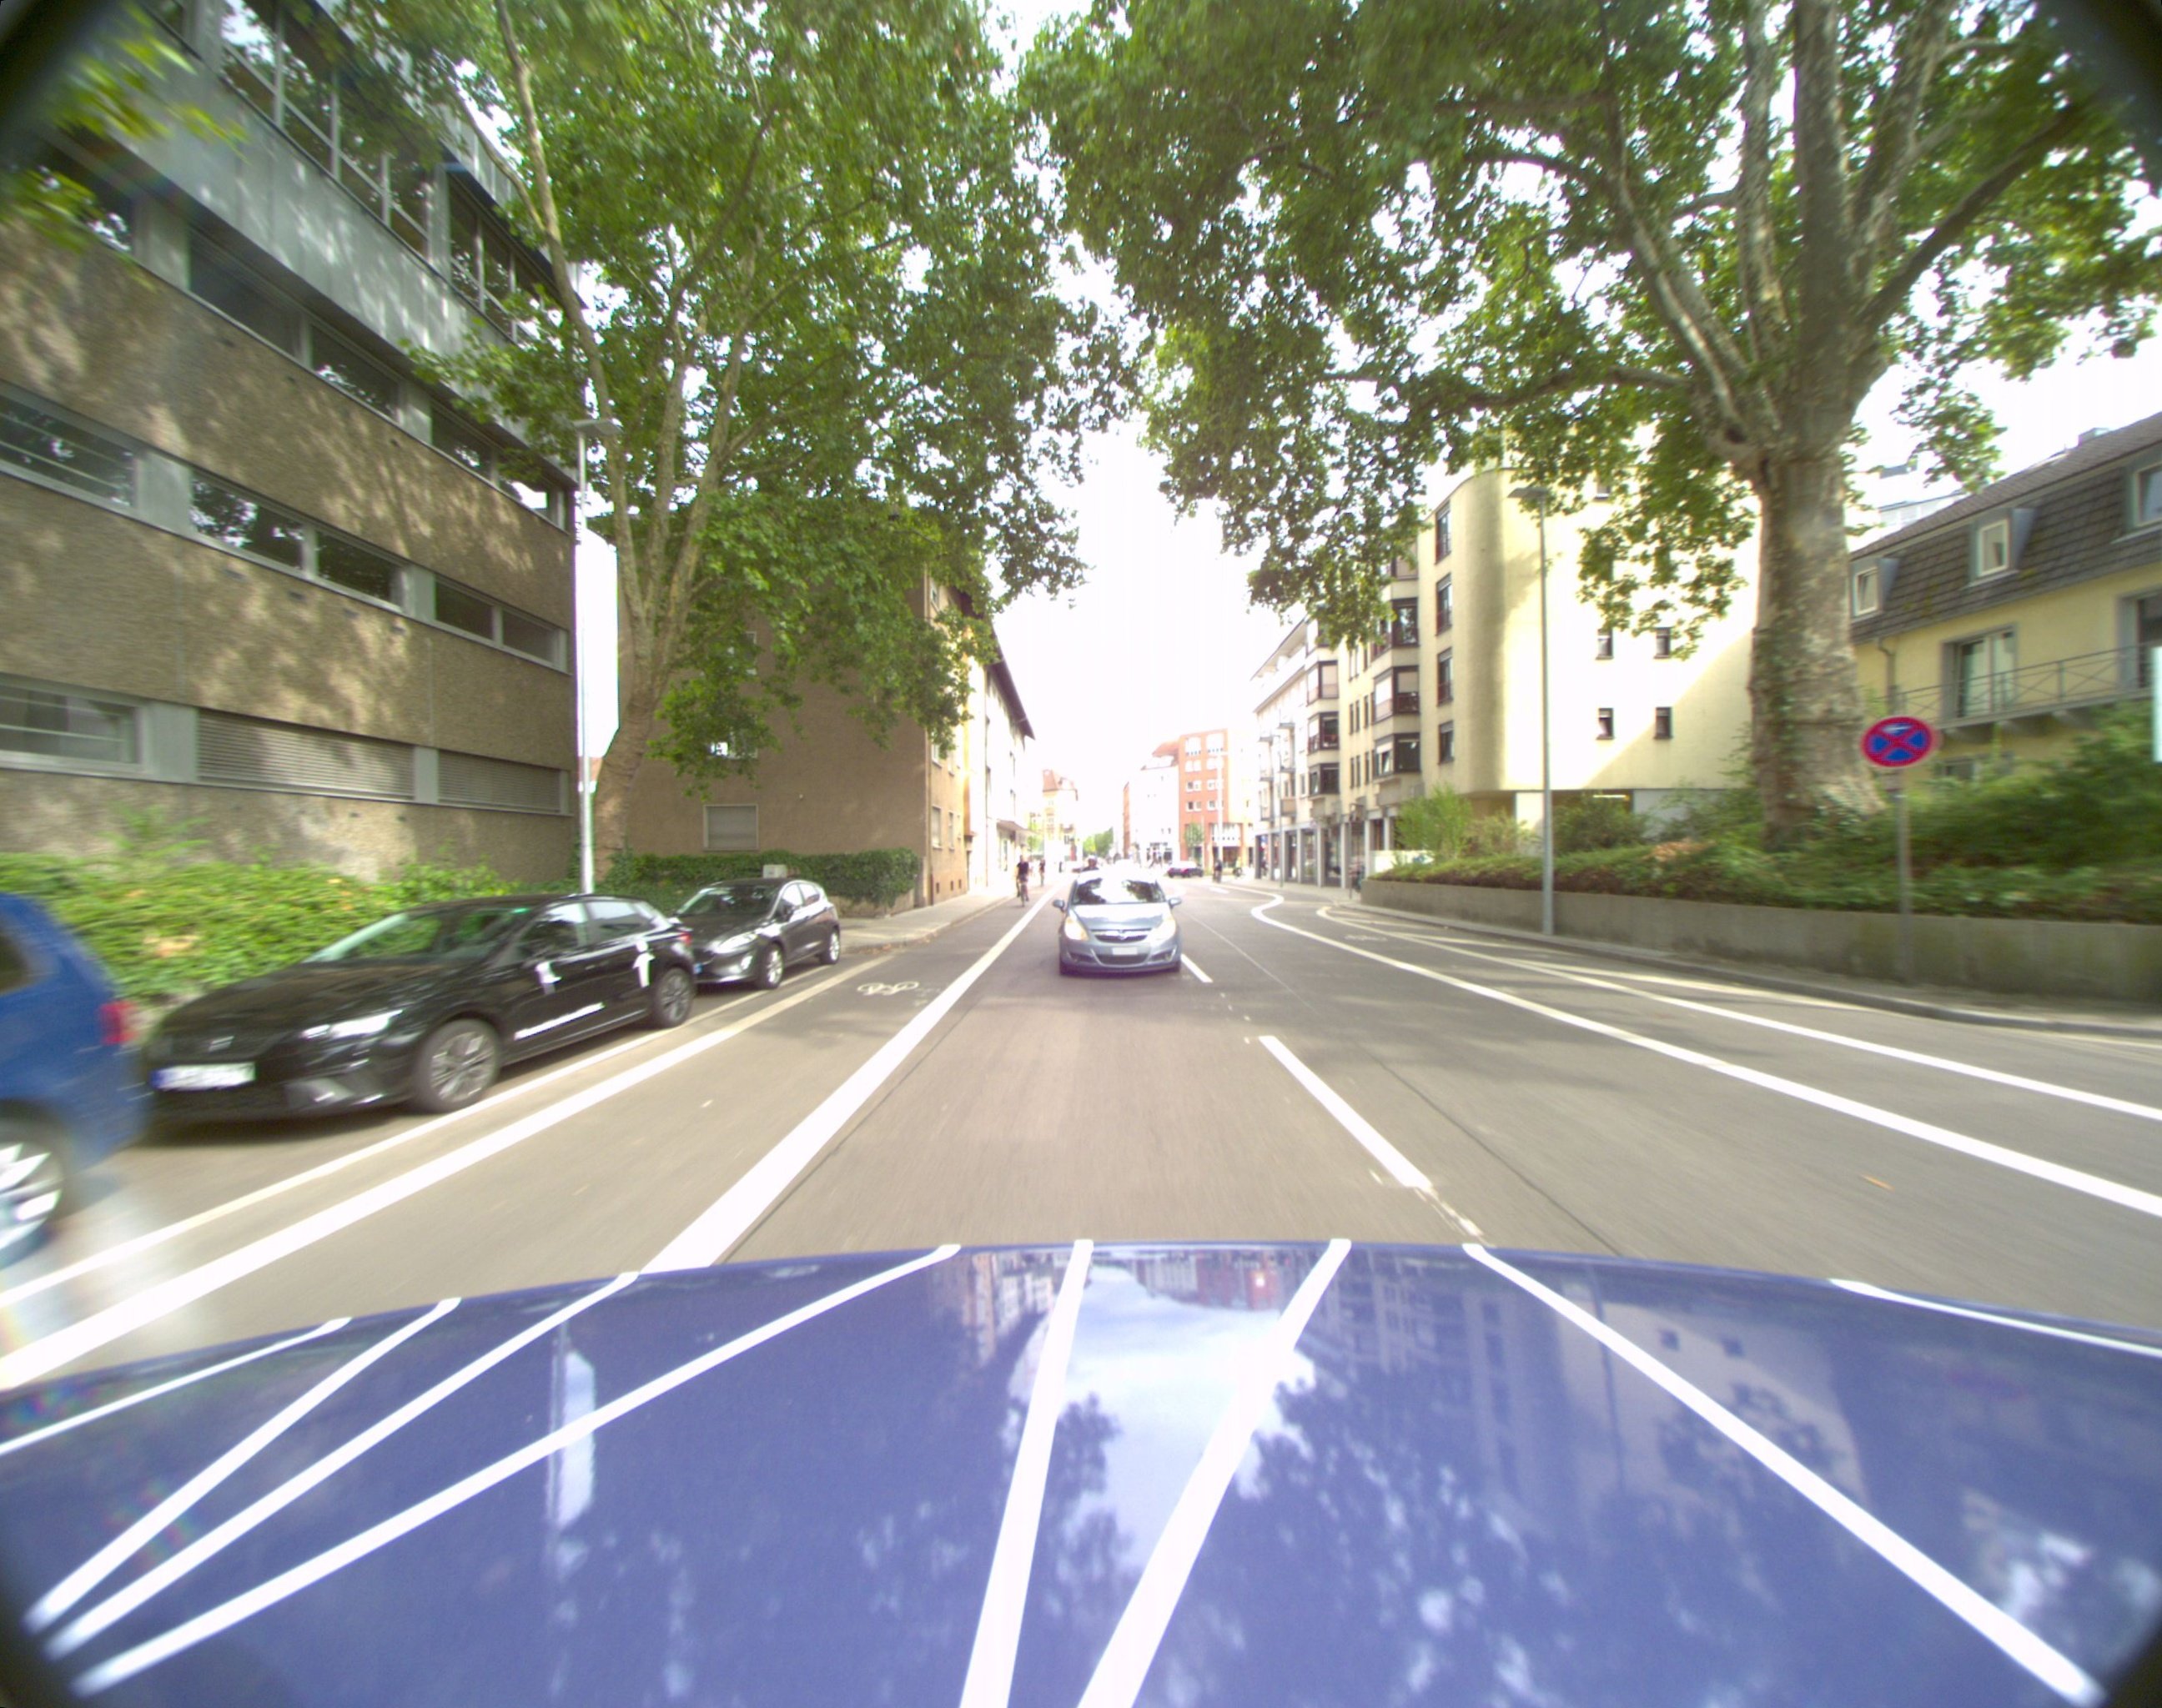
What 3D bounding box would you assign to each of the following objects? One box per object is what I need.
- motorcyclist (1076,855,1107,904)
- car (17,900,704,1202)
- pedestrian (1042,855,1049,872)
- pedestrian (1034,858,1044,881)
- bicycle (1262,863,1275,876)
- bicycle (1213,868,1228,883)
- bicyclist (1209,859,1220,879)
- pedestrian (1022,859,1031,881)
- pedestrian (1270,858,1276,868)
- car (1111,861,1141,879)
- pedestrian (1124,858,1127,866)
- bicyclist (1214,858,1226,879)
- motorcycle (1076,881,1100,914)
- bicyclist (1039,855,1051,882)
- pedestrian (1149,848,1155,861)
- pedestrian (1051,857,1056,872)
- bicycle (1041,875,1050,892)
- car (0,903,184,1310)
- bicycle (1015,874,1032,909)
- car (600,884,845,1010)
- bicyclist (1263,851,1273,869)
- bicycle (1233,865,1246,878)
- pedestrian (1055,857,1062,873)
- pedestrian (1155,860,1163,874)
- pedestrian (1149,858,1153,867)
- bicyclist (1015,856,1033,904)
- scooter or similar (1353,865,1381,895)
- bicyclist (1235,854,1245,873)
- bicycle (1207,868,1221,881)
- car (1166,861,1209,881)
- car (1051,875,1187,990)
[{"bbox_3d":[0.329,0.801,23.875,0.871,1.507,1.044,-1,0,6],"label":"motorcyclist"},{"bbox_3d":[-4.956,1.208,6.150,1.661,1.413,3.948,-3,-1,2],"label":"car"},{"bbox_3d":[-3.826,1.042,82.524,0.673,1.892,0.590,2,0,1],"label":"pedestrian"},{"bbox_3d":[-3.293,1.195,59.468,0.753,1.740,0.859,-1,0,0],"label":"pedestrian"},{"bbox_3d":[16.360,1.332,66.351,0.739,1.001,1.909,-1,1,5],"label":"bicycle"},{"bbox_3d":[9.932,1.517,54.065,0.739,1.000,2.196,-2,-2,4],"label":"bicycle"},{"bbox_3d":[10.206,1.180,58.160,0.658,1.516,0.857,-2,-2,5],"label":"bicyclist"},{"bbox_3d":[-4.255,1.252,59.384,0.606,1.659,0.944,-1,0,-1],"label":"pedestrian"},{"bbox_3d":[31.251,1.472,123.498,0.601,1.677,0.639,0,-1,-45],"label":"pedestrian"},{"bbox_3d":[4.178,1.484,70.014,1.955,1.592,4.005,-1,0,16],"label":"car"},{"bbox_3d":[8.962,1.665,153.971,0.540,1.712,0.520,0,1,12],"label":"pedestrian"},{"bbox_3d":[9.913,1.051,54.329,0.658,1.516,1.077,-2,-2,5],"label":"bicyclist"},{"bbox_3d":[0.246,1.381,24.520,0.570,0.962,2.015,-1,-1,7],"label":"motorcycle"},{"bbox_3d":[-2.191,0.900,46.440,0.613,1.593,0.847,-2,-2,-2],"label":"bicyclist"},{"bbox_3d":[9.986,0.060,107.313,0.567,1.813,0.697,-1,-1,45],"label":"pedestrian"},{"bbox_3d":[-2.984,1.152,82.495,0.473,1.663,0.590,2,0,2],"label":"pedestrian"},{"bbox_3d":[-2.154,1.813,46.327,0.489,0.994,1.747,-2,-1,-3],"label":"bicycle"},{"bbox_3d":[-5.243,1.066,1.545,1.662,1.641,4.419,-2,-1,-3],"label":"car"},{"bbox_3d":[-2.026,1.317,27.062,0.407,1.115,2.017,-3,0,0],"label":"bicycle"},{"bbox_3d":[-4.840,1.170,10.909,1.662,1.413,3.867,-1,-1,0],"label":"car"},{"bbox_3d":[16.292,0.546,66.082,0.658,1.516,1.002,-2,1,5],"label":"bicyclist"},{"bbox_3d":[13.112,1.445,62.778,0.739,1.000,2.253,-2,-2,5],"label":"bicycle"},{"bbox_3d":[-2.630,1.290,89.772,0.657,1.841,0.971,2,0,4],"label":"pedestrian"},{"bbox_3d":[10.770,1.764,104.706,0.719,1.959,1.016,2,-1,29],"label":"pedestrian"},{"bbox_3d":[11.684,1.375,126.947,0.593,1.502,0.629,-1,-1,-7],"label":"pedestrian"},{"bbox_3d":[-2.037,0.930,27.346,0.560,1.699,0.863,-1,0,0],"label":"bicyclist"},{"bbox_3d":[12.465,1.117,33.145,0.287,1.257,1.173,-1,0,-36],"label":"scooter or similar"},{"bbox_3d":[13.050,0.753,62.518,0.658,1.516,0.841,-2,-2,5],"label":"bicyclist"},{"bbox_3d":[10.203,1.574,58.337,0.739,1.000,1.977,-2,-2,4],"label":"bicycle"},{"bbox_3d":[9.305,1.497,66.135,1.812,1.398,4.621,-4,-7,34],"label":"car"},{"bbox_3d":[0.561,1.056,11.682,1.723,1.394,4.001,0,-1,2],"label":"car"}]
